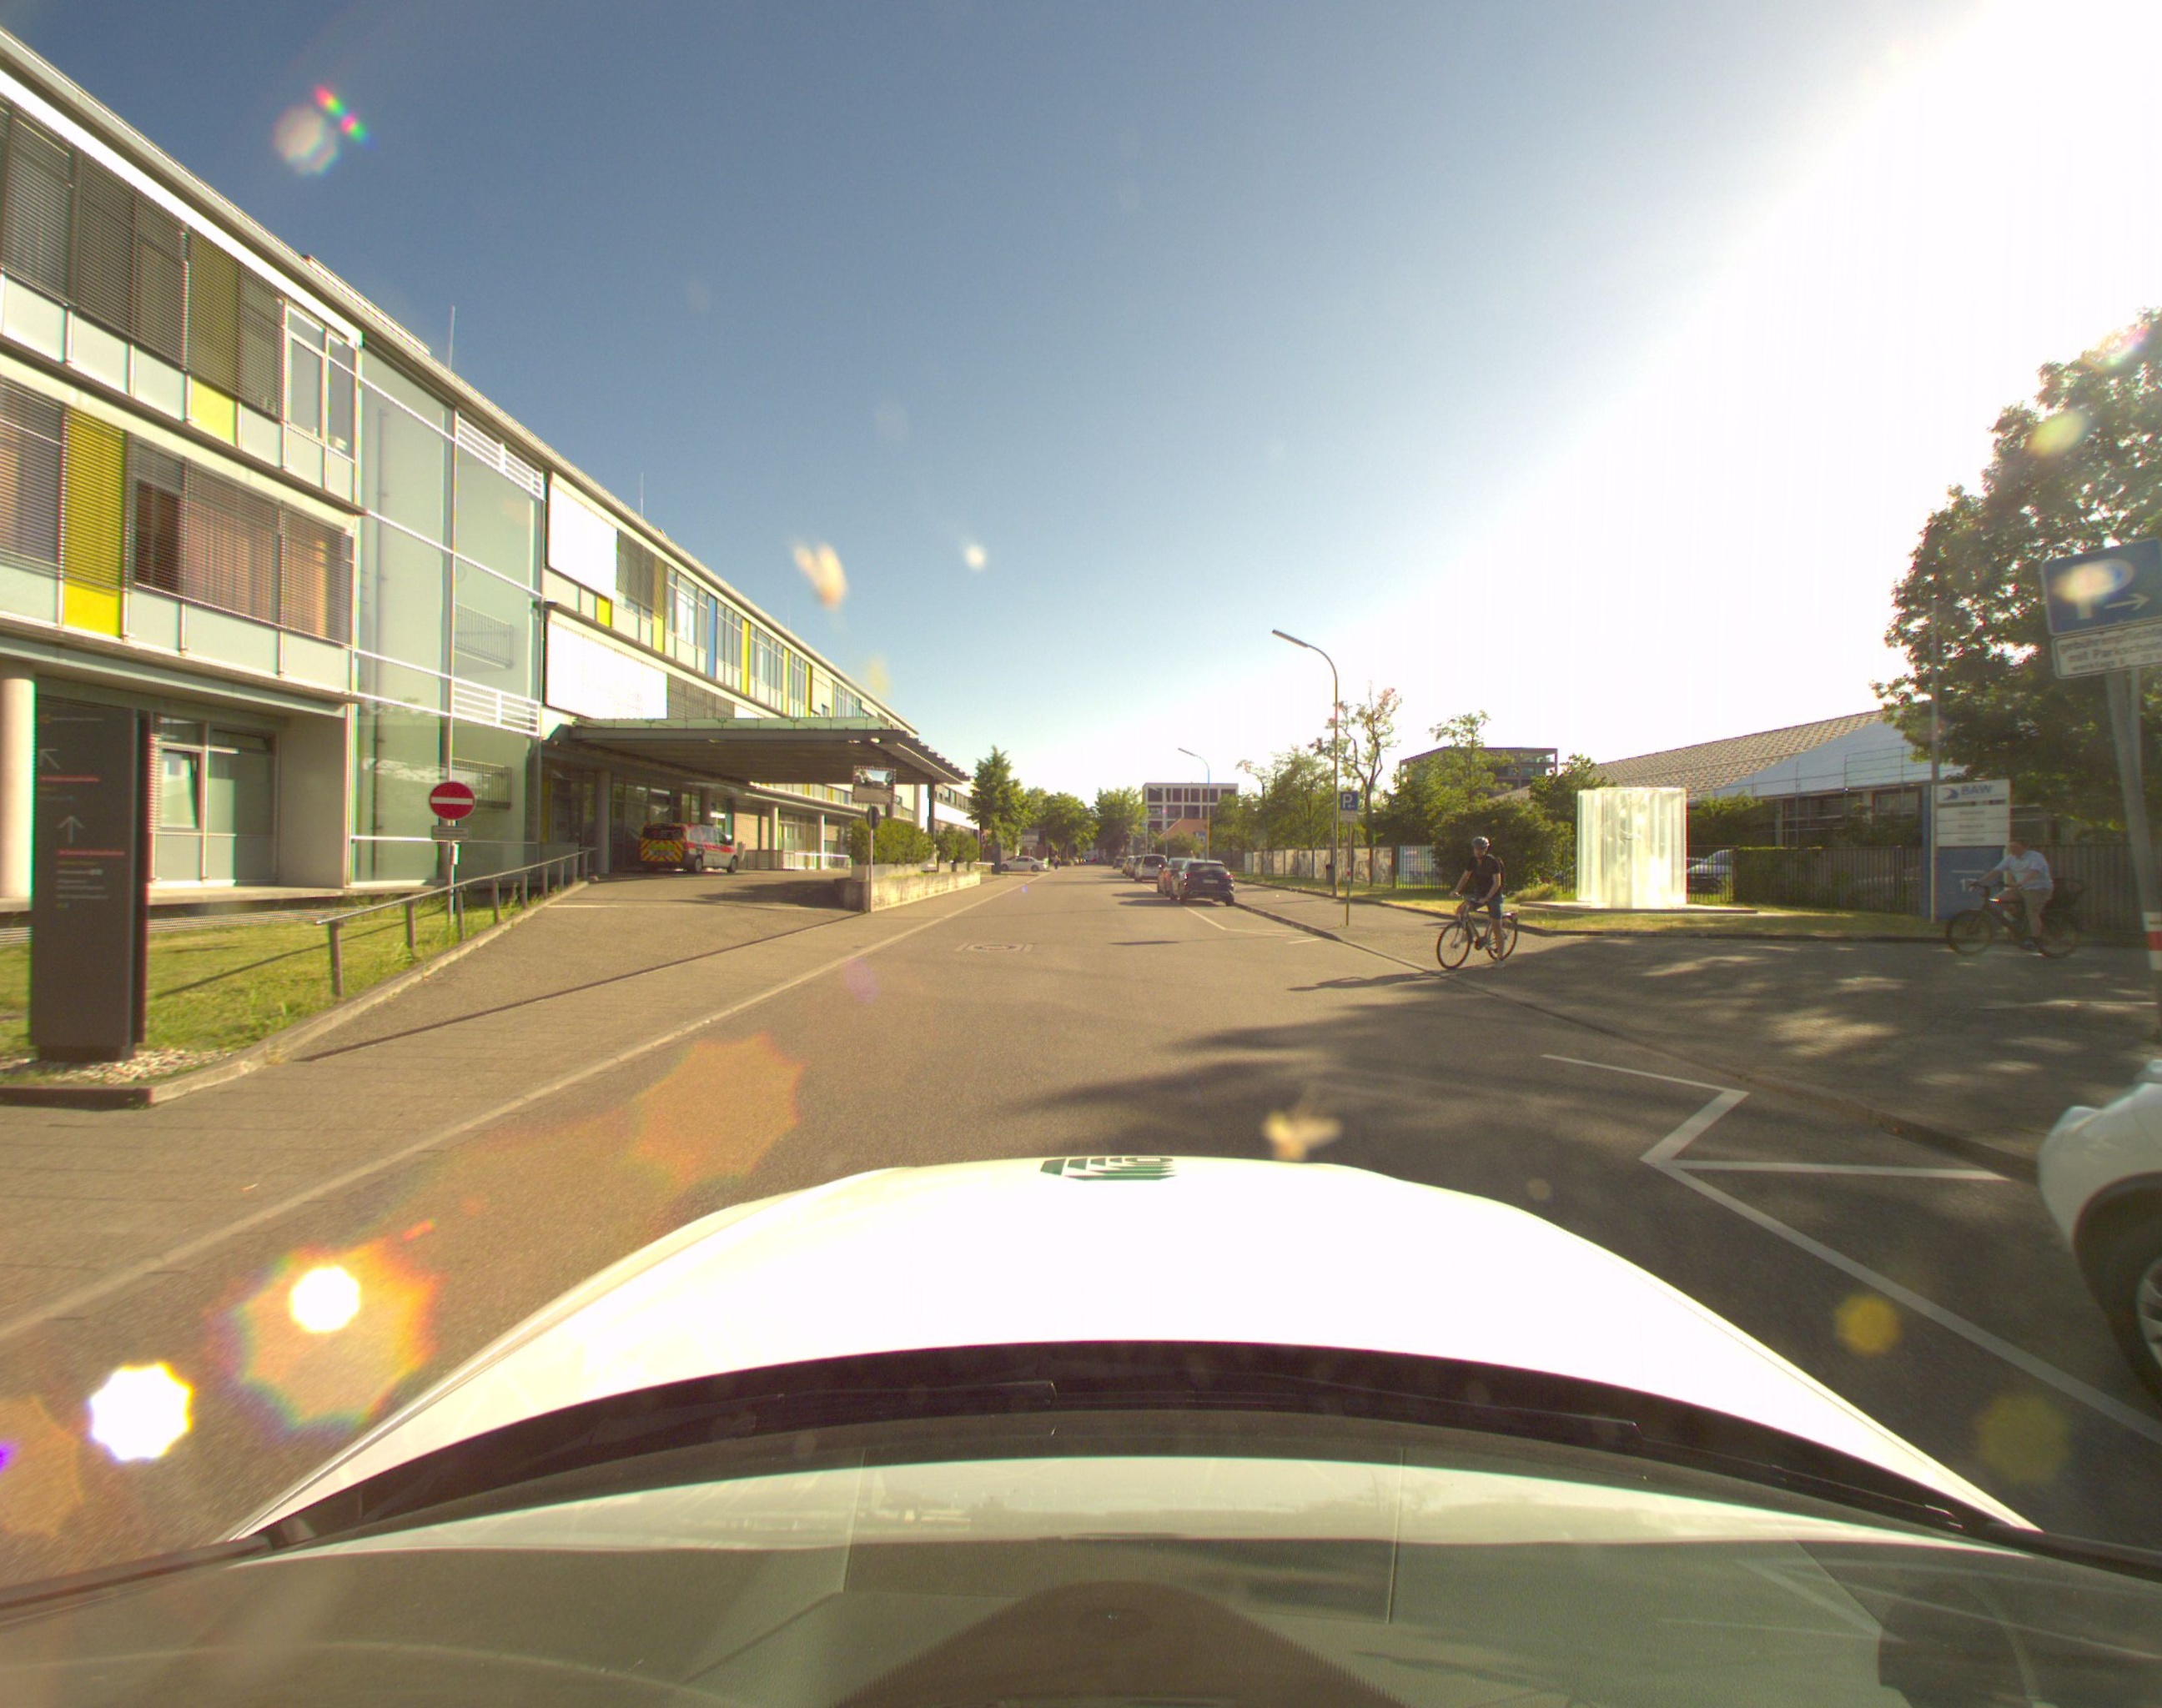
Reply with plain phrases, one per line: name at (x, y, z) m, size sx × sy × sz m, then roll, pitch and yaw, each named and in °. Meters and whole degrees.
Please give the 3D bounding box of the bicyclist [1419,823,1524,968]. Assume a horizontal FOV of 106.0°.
bicyclist at (5.753, 0.566, 12.005) m, size 1.057 × 2.013 × 0.950 m, roll -2°, pitch 1°, yaw -33°

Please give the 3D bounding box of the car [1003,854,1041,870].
car at (-5.680, 0.760, 78.620) m, size 3.625 × 1.469 × 1.613 m, roll 2°, pitch 0°, yaw -2°

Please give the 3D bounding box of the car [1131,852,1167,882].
car at (4.141, 0.769, 50.206) m, size 1.803 × 1.722 × 4.703 m, roll 2°, pitch 0°, yaw 0°

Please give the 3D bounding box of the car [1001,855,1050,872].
car at (-5.143, 0.847, 75.651) m, size 4.504 × 1.367 × 1.697 m, roll 3°, pitch 0°, yaw -5°

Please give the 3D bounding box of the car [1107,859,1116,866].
car at (7.107, 2.010, 191.185) m, size 1.943 × 1.578 × 3.837 m, roll 1°, pitch 0°, yaw 1°

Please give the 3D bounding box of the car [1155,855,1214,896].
car at (4.229, 0.837, 33.961) m, size 1.803 × 1.510 × 4.721 m, roll 2°, pitch 0°, yaw 0°

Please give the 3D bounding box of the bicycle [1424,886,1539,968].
bicycle at (5.986, 1.053, 12.135) m, size 1.893 × 1.008 × 0.694 m, roll -2°, pitch 1°, yaw -35°

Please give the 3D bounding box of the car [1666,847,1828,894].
car at (24.638, 0.582, 30.237) m, size 4.621 × 1.668 × 1.997 m, roll 0°, pitch 0°, yaw -5°

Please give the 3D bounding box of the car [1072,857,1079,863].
car at (-1.332, 1.569, 201.939) m, size 1.762 × 1.487 × 3.998 m, roll 0°, pitch 0°, yaw -1°

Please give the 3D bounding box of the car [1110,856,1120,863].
car at (6.737, 1.106, 162.293) m, size 1.762 × 1.440 × 3.998 m, roll 0°, pitch 0°, yaw -1°

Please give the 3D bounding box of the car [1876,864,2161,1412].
car at (3.825, 0.820, 1.034) m, size 1.658 × 1.513 × 4.115 m, roll 2°, pitch 0°, yaw 1°

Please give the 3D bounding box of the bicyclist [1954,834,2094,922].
bicyclist at (14.127, 0.343, 12.242) m, size 1.088 × 1.268 × 0.866 m, roll 0°, pitch 0°, yaw 16°

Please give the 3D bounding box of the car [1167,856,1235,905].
car at (4.064, 0.850, 28.177) m, size 1.695 × 1.487 × 4.214 m, roll 2°, pitch 0°, yaw 0°

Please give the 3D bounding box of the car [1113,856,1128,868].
car at (4.916, 1.000, 101.068) m, size 1.811 × 1.453 × 4.215 m, roll 0°, pitch 0°, yaw 2°

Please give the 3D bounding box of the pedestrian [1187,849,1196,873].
pedestrian at (8.077, 0.535, 59.612) m, size 0.520 × 1.708 × 0.522 m, roll 2°, pitch -1°, yaw -2°

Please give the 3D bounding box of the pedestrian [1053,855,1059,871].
pedestrian at (-2.477, 0.902, 80.687) m, size 0.536 × 1.524 × 0.607 m, roll 0°, pitch 0°, yaw 1°

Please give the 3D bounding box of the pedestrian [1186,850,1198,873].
pedestrian at (7.988, 0.553, 58.640) m, size 0.679 × 1.611 × 0.540 m, roll 2°, pitch -1°, yaw -2°

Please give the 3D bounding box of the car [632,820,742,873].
car at (-15.036, -0.272, 31.401) m, size 1.913 × 1.891 × 4.711 m, roll 0°, pitch 0°, yaw 0°

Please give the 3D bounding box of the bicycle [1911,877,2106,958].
bicycle at (13.928, 0.938, 12.288) m, size 1.882 × 1.143 × 0.670 m, roll -1°, pitch 0°, yaw 16°

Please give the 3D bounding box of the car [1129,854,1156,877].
car at (4.457, 0.806, 59.620) m, size 1.695 × 1.606 × 4.353 m, roll 2°, pitch 0°, yaw 1°

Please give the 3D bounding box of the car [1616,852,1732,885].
car at (25.338, 0.619, 34.867) m, size 3.879 × 1.379 × 1.673 m, roll 0°, pitch 0°, yaw -3°

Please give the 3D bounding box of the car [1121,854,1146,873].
car at (4.710, 0.813, 73.195) m, size 1.808 × 1.588 × 4.260 m, roll 2°, pitch 0°, yaw -1°

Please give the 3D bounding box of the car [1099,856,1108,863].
car at (4.638, 1.140, 168.535) m, size 1.762 × 1.548 × 4.064 m, roll 0°, pitch 0°, yaw -1°
